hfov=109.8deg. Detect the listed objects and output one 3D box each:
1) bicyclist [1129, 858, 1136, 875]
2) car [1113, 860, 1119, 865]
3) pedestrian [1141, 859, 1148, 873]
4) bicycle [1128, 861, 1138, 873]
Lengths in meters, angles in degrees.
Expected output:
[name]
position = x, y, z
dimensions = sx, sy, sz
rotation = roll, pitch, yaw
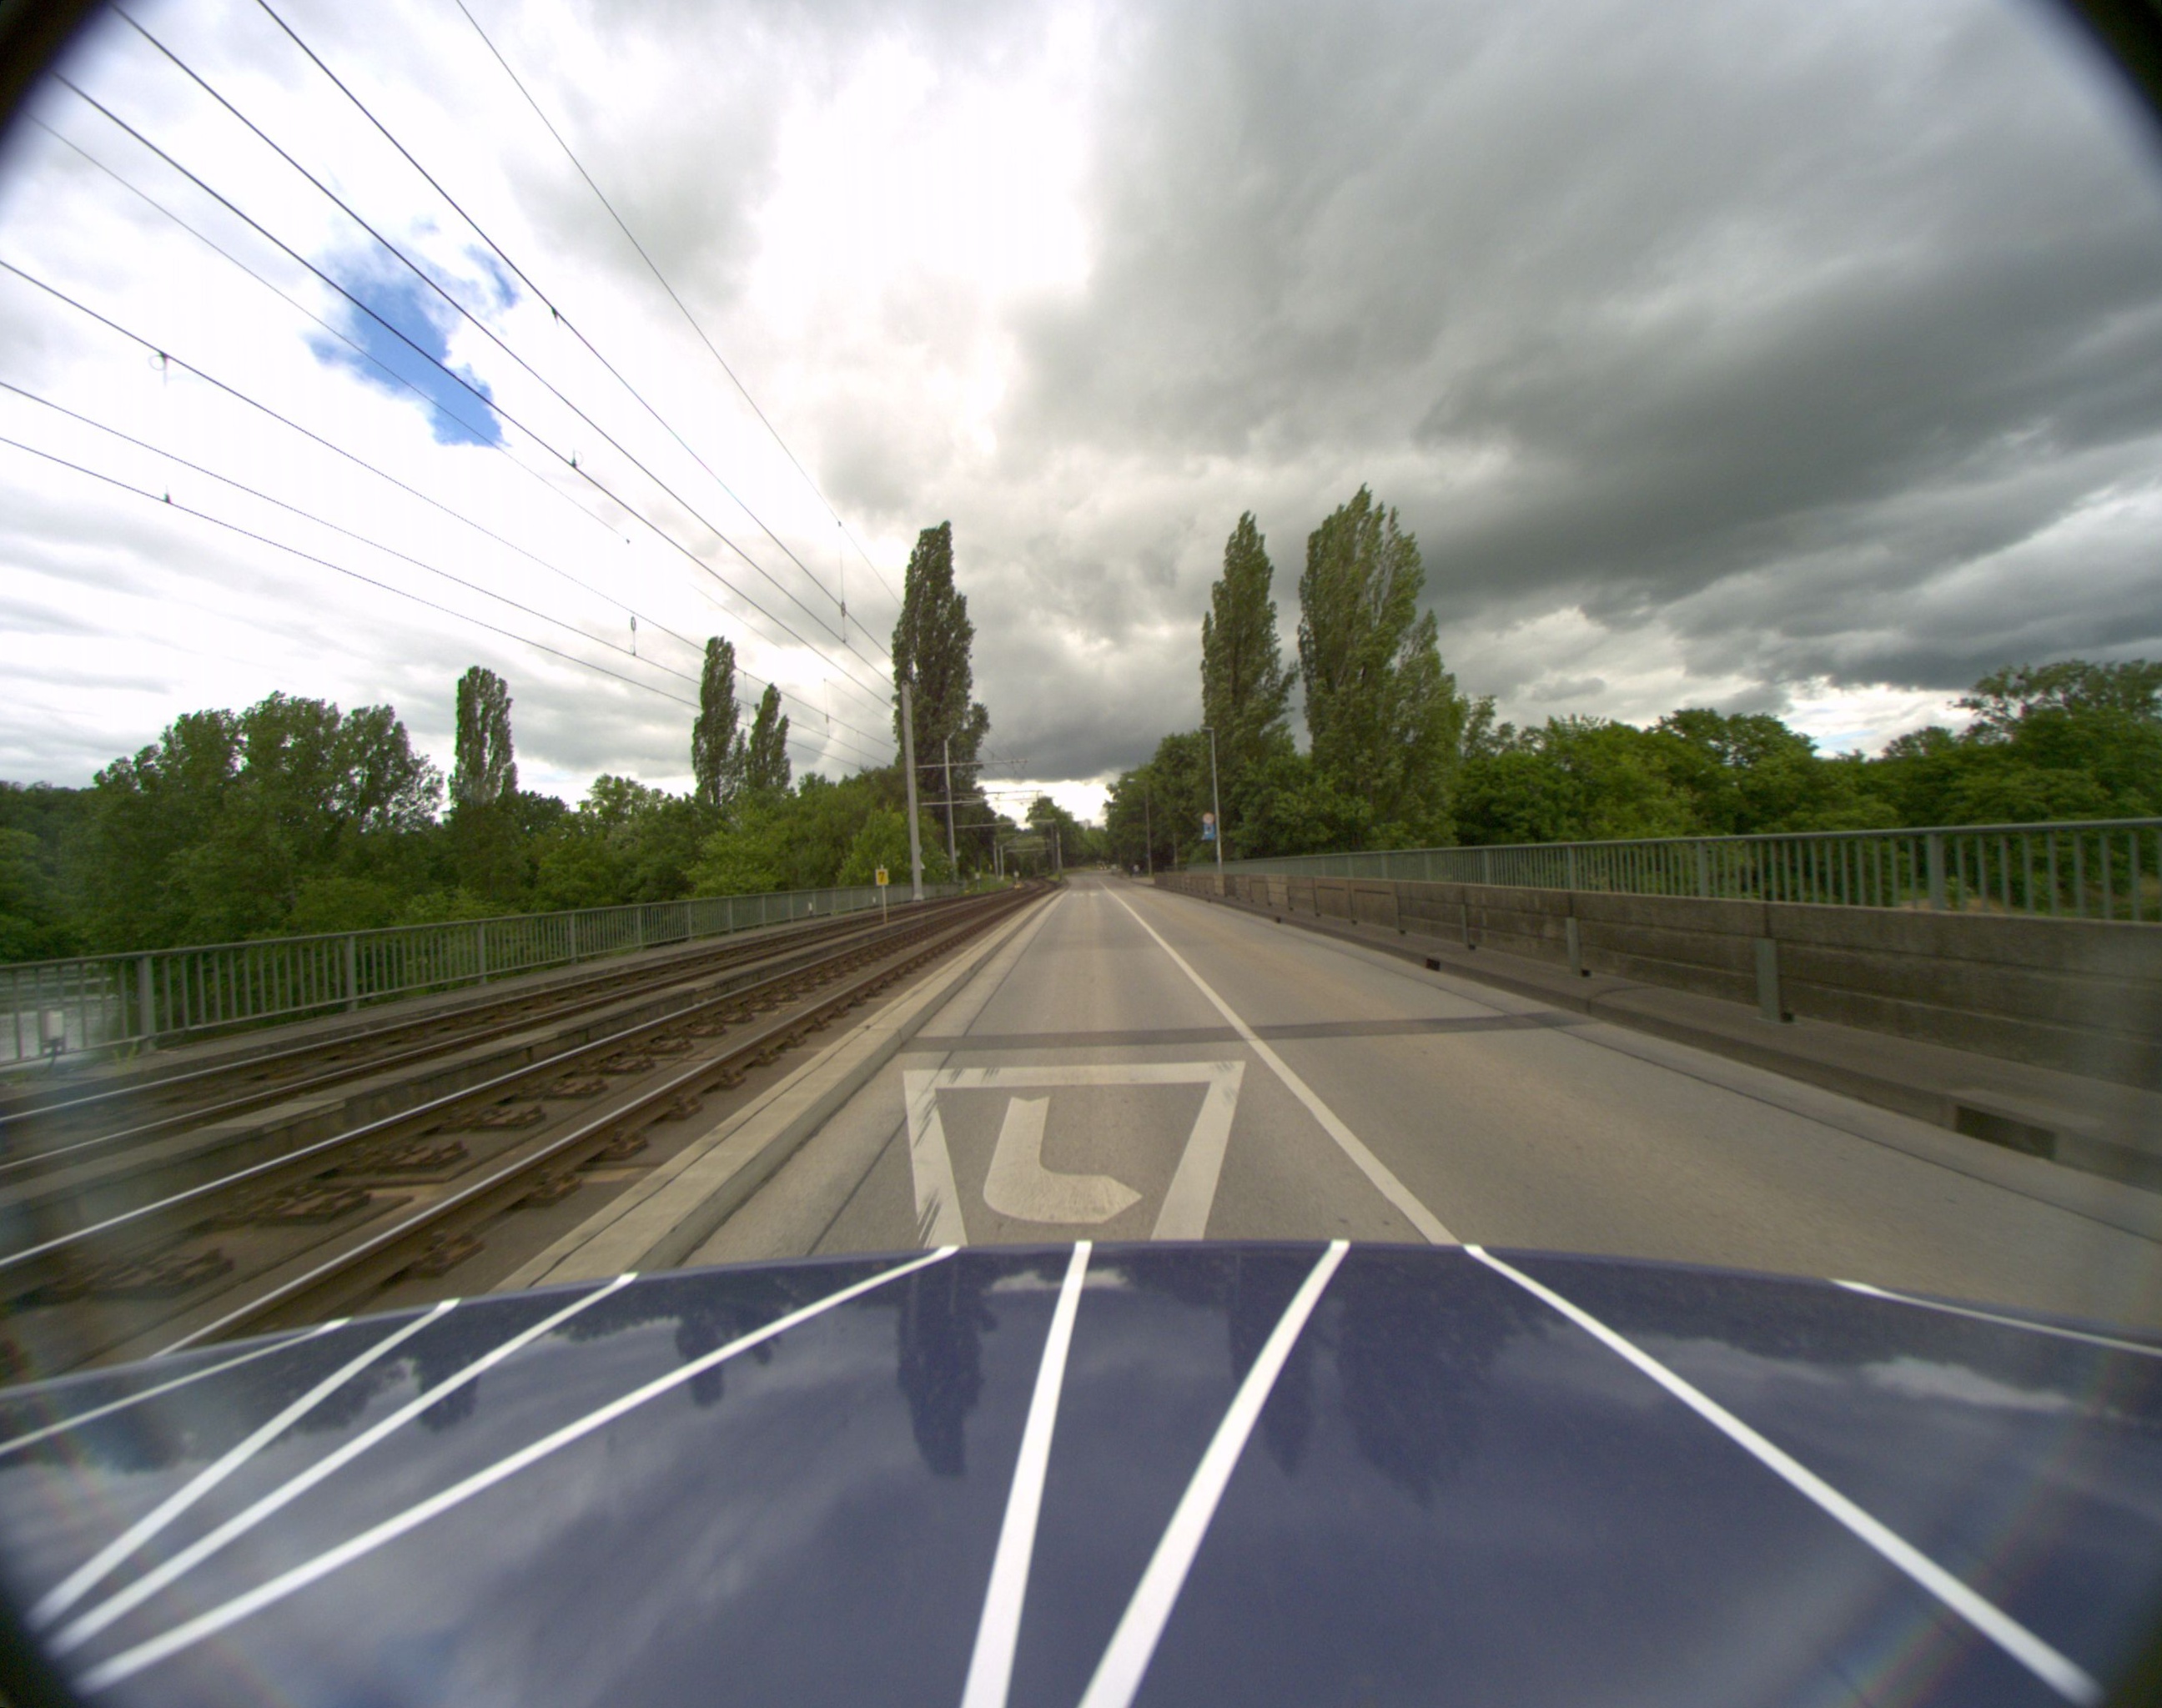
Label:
[bicyclist]
position = 6.030, 1.481, 88.967
dimensions = 0.688, 1.936, 0.835
rotation = -4, 0, -4
[car]
position = 11.621, 2.842, 253.542
dimensions = 1.799, 1.483, 4.180
rotation = -1, -1, 0
[pedestrian]
position = 7.709, 1.459, 92.735
dimensions = 0.552, 1.754, 0.858
rotation = -7, 0, -1
[bicycle]
position = 6.057, 1.511, 88.602
dimensions = 0.700, 1.324, 2.279
rotation = -4, 2, -4
